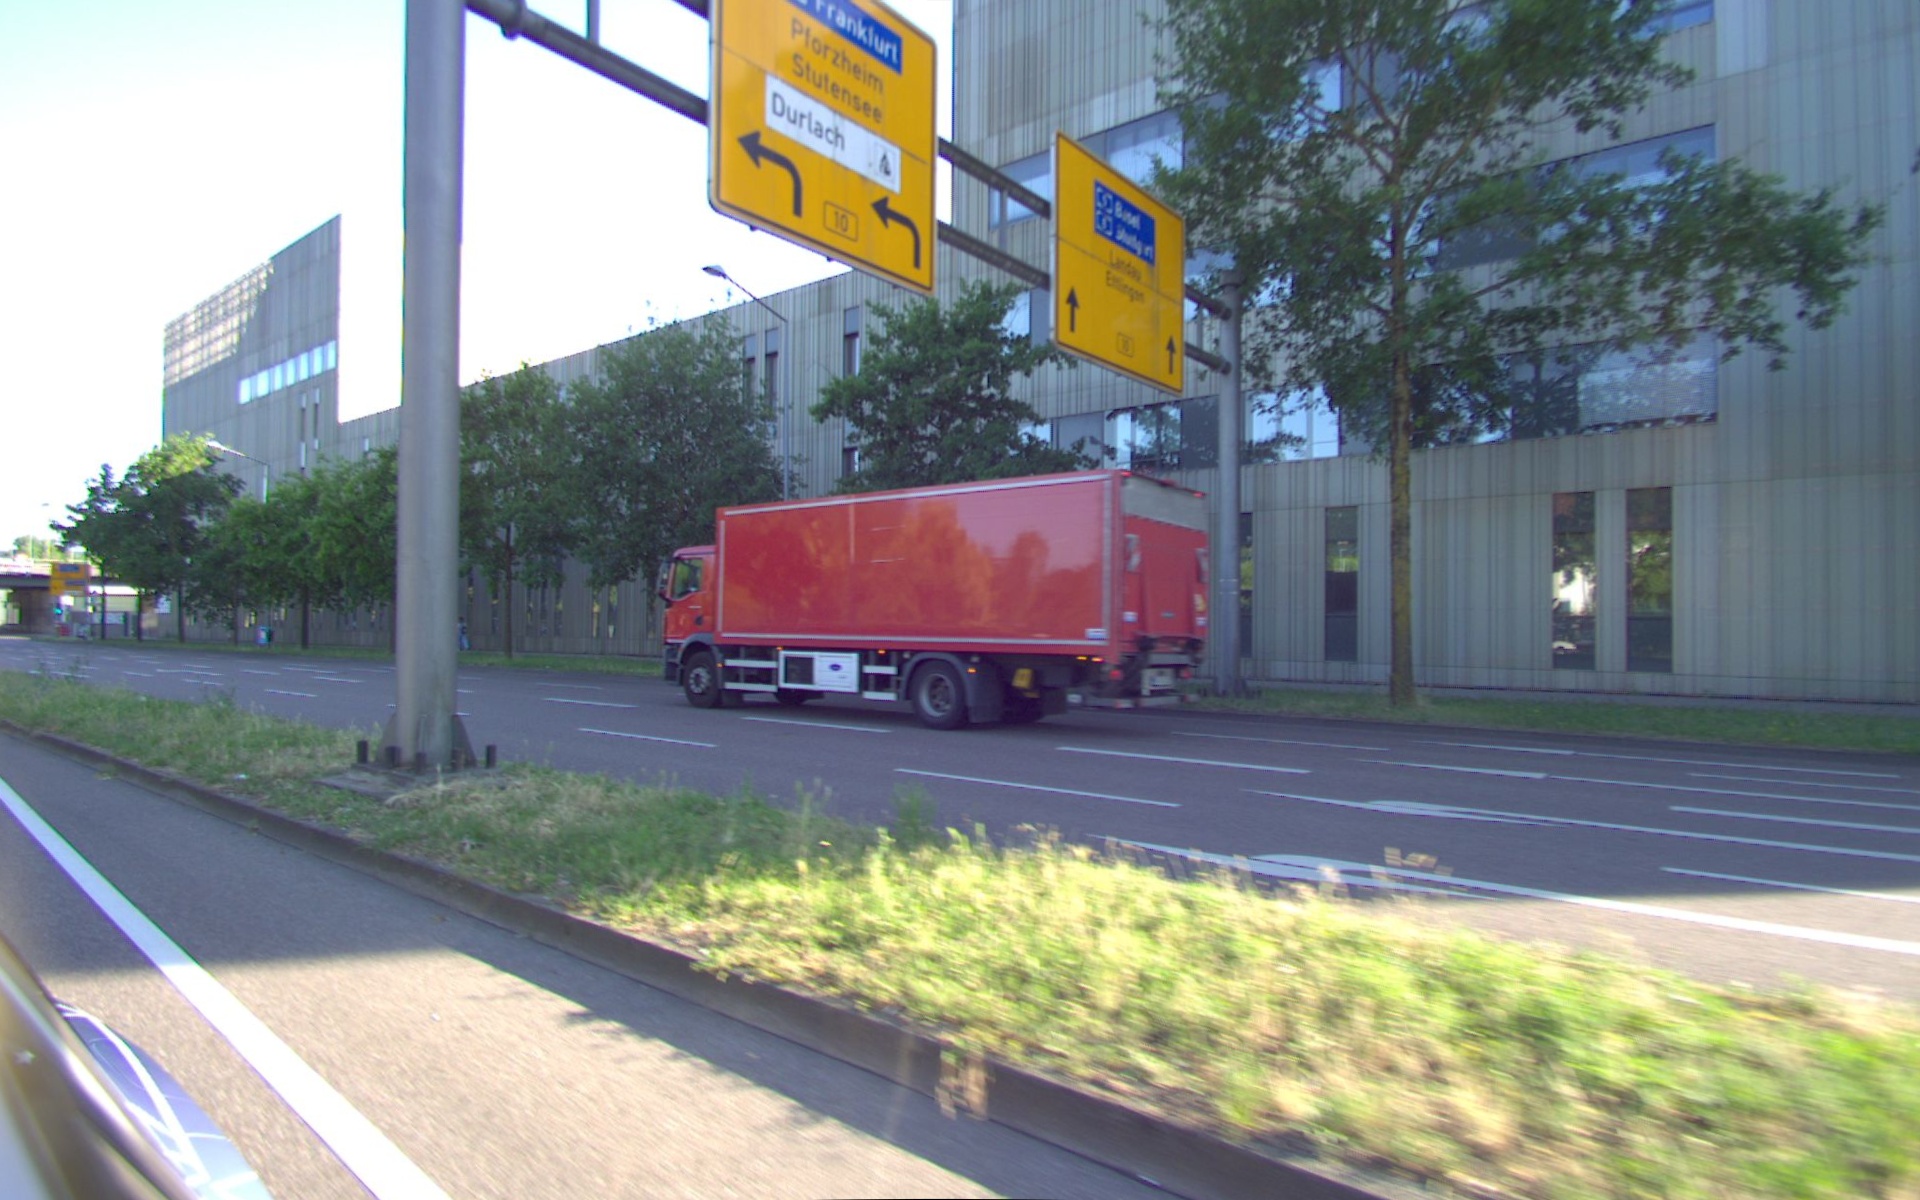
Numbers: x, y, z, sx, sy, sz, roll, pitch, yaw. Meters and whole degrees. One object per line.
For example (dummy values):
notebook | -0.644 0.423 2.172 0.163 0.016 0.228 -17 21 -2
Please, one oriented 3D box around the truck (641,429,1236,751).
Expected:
truck | -0.932 -0.019 16.399 10.076 3.840 2.969 -1 -2 38

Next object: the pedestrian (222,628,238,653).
pedestrian | -47.709 2.640 66.144 0.724 1.641 0.690 -1 -2 39

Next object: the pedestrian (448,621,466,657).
pedestrian | -25.230 1.937 50.752 0.648 1.781 0.596 -1 -2 40
